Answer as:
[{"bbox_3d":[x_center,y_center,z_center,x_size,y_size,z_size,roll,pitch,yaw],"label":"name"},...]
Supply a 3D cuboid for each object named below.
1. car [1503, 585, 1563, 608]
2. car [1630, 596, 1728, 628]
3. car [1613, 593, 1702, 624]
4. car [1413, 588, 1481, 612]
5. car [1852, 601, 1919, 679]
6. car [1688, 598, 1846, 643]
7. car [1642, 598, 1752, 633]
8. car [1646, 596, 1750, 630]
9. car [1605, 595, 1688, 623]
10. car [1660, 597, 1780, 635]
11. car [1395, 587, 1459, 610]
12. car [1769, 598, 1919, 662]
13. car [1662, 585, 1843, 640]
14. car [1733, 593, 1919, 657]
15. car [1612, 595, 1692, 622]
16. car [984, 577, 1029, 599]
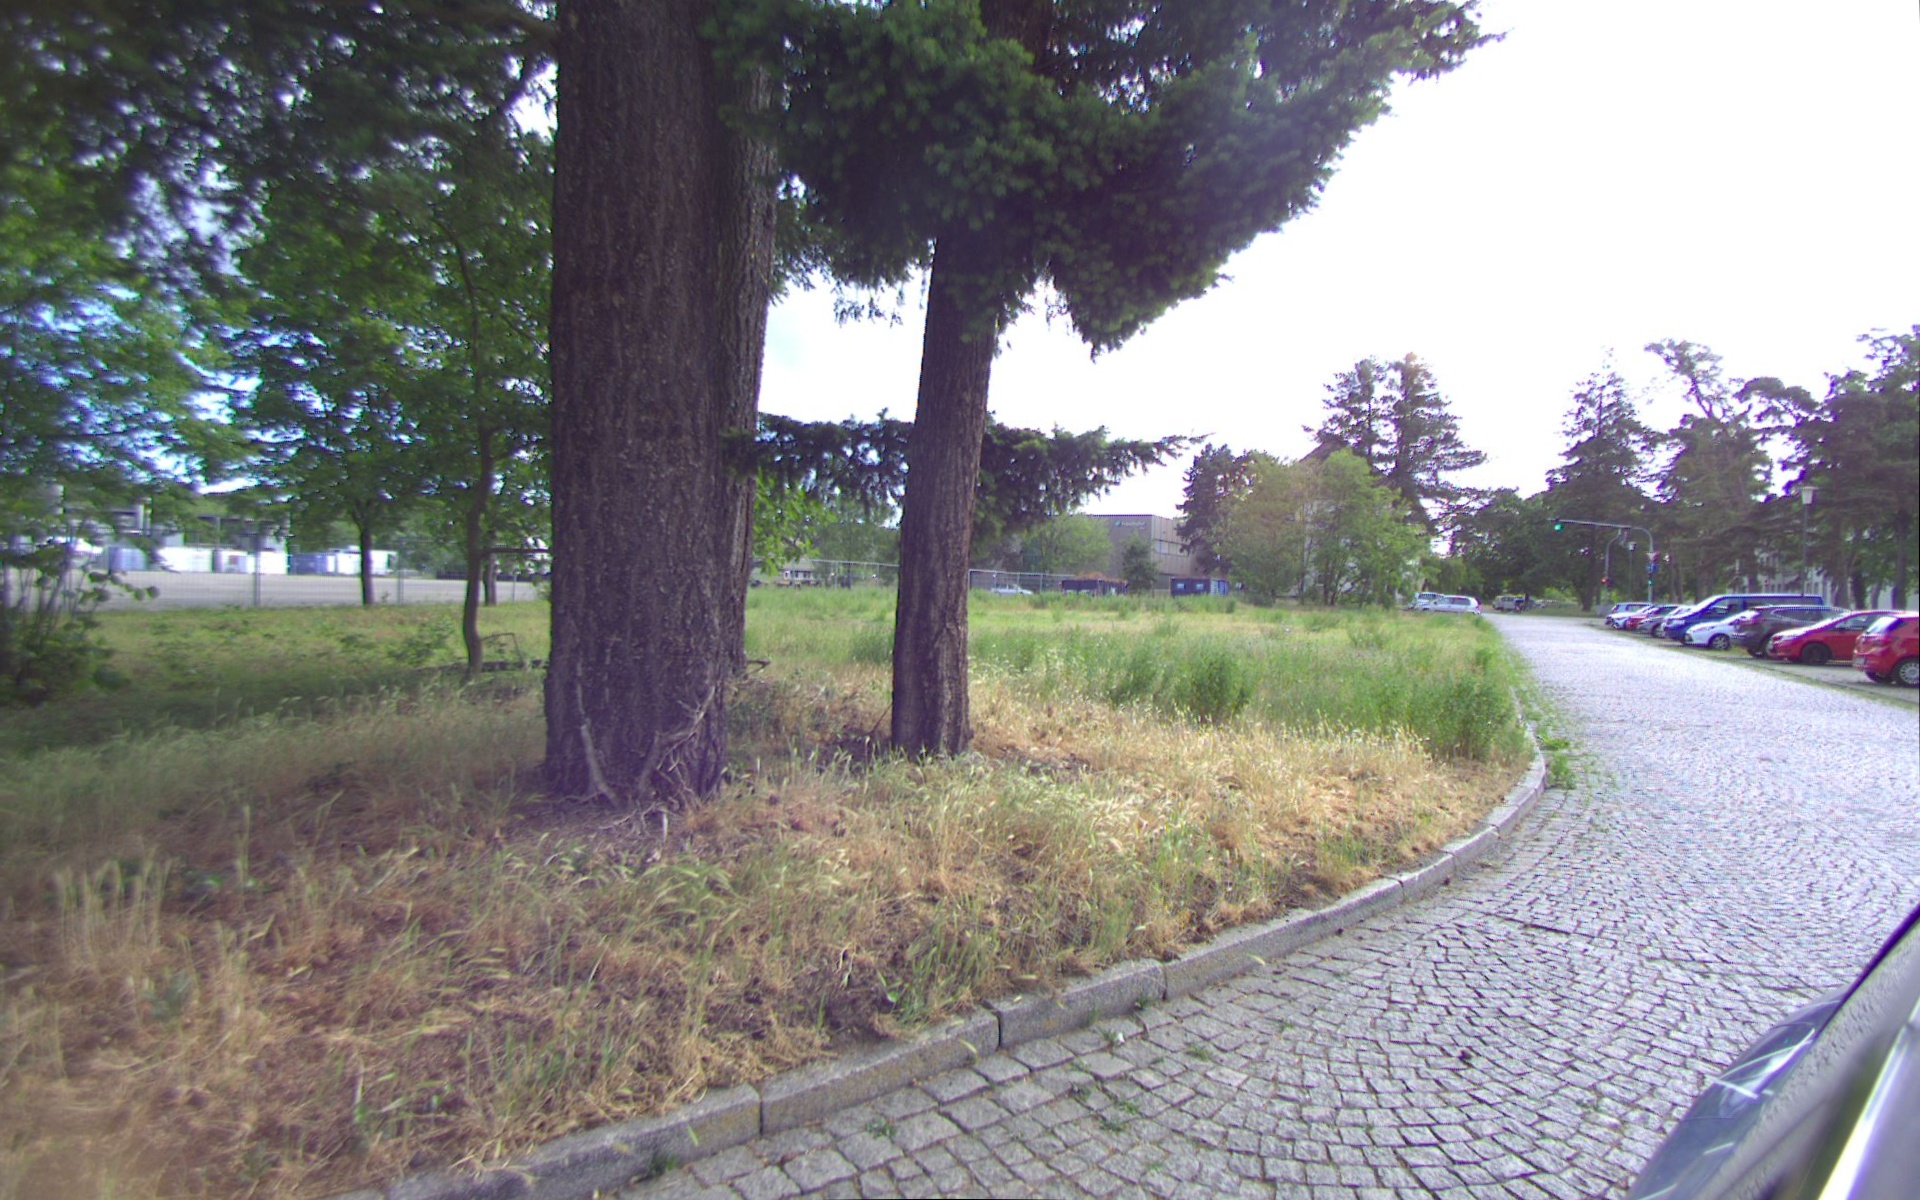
[{"bbox_3d":[67.013,-0.402,118.544,5.732,2.594,2.749,-1,0,23],"label":"car"},{"bbox_3d":[34.807,0.583,49.064,3.529,1.434,1.627,-1,0,21],"label":"car"},{"bbox_3d":[36.686,0.451,53.315,3.528,1.506,1.592,-1,0,20],"label":"car"},{"bbox_3d":[29.751,-0.002,61.913,3.691,1.456,1.613,0,1,24],"label":"car"},{"bbox_3d":[20.237,0.808,19.797,3.860,1.497,1.656,1,0,28],"label":"car"},{"bbox_3d":[27.510,0.694,34.672,3.893,1.410,1.727,-1,1,27],"label":"car"},{"bbox_3d":[32.209,0.656,44.308,3.557,1.438,1.607,0,1,21],"label":"car"},{"bbox_3d":[34.041,0.592,46.787,3.529,1.452,1.596,-1,0,21],"label":"car"},{"bbox_3d":[37.817,0.506,55.830,3.536,1.476,1.613,-1,0,26],"label":"car"},{"bbox_3d":[31.325,0.648,41.822,3.556,1.472,1.676,-1,0,21],"label":"car"},{"bbox_3d":[31.017,-0.091,67.300,3.685,1.456,1.616,-1,1,21],"label":"car"},{"bbox_3d":[23.843,0.773,26.444,3.918,1.539,1.690,2,0,28],"label":"car"},{"bbox_3d":[28.788,0.460,36.999,4.787,1.889,2.142,-1,1,26],"label":"car"},{"bbox_3d":[24.814,0.667,28.978,3.879,1.623,1.805,2,1,26],"label":"car"},{"bbox_3d":[39.624,0.461,57.993,3.409,1.450,1.619,-1,0,18],"label":"car"},{"bbox_3d":[4.383,-1.136,95.743,3.692,1.928,2.004,3,-1,-13],"label":"car"}]
